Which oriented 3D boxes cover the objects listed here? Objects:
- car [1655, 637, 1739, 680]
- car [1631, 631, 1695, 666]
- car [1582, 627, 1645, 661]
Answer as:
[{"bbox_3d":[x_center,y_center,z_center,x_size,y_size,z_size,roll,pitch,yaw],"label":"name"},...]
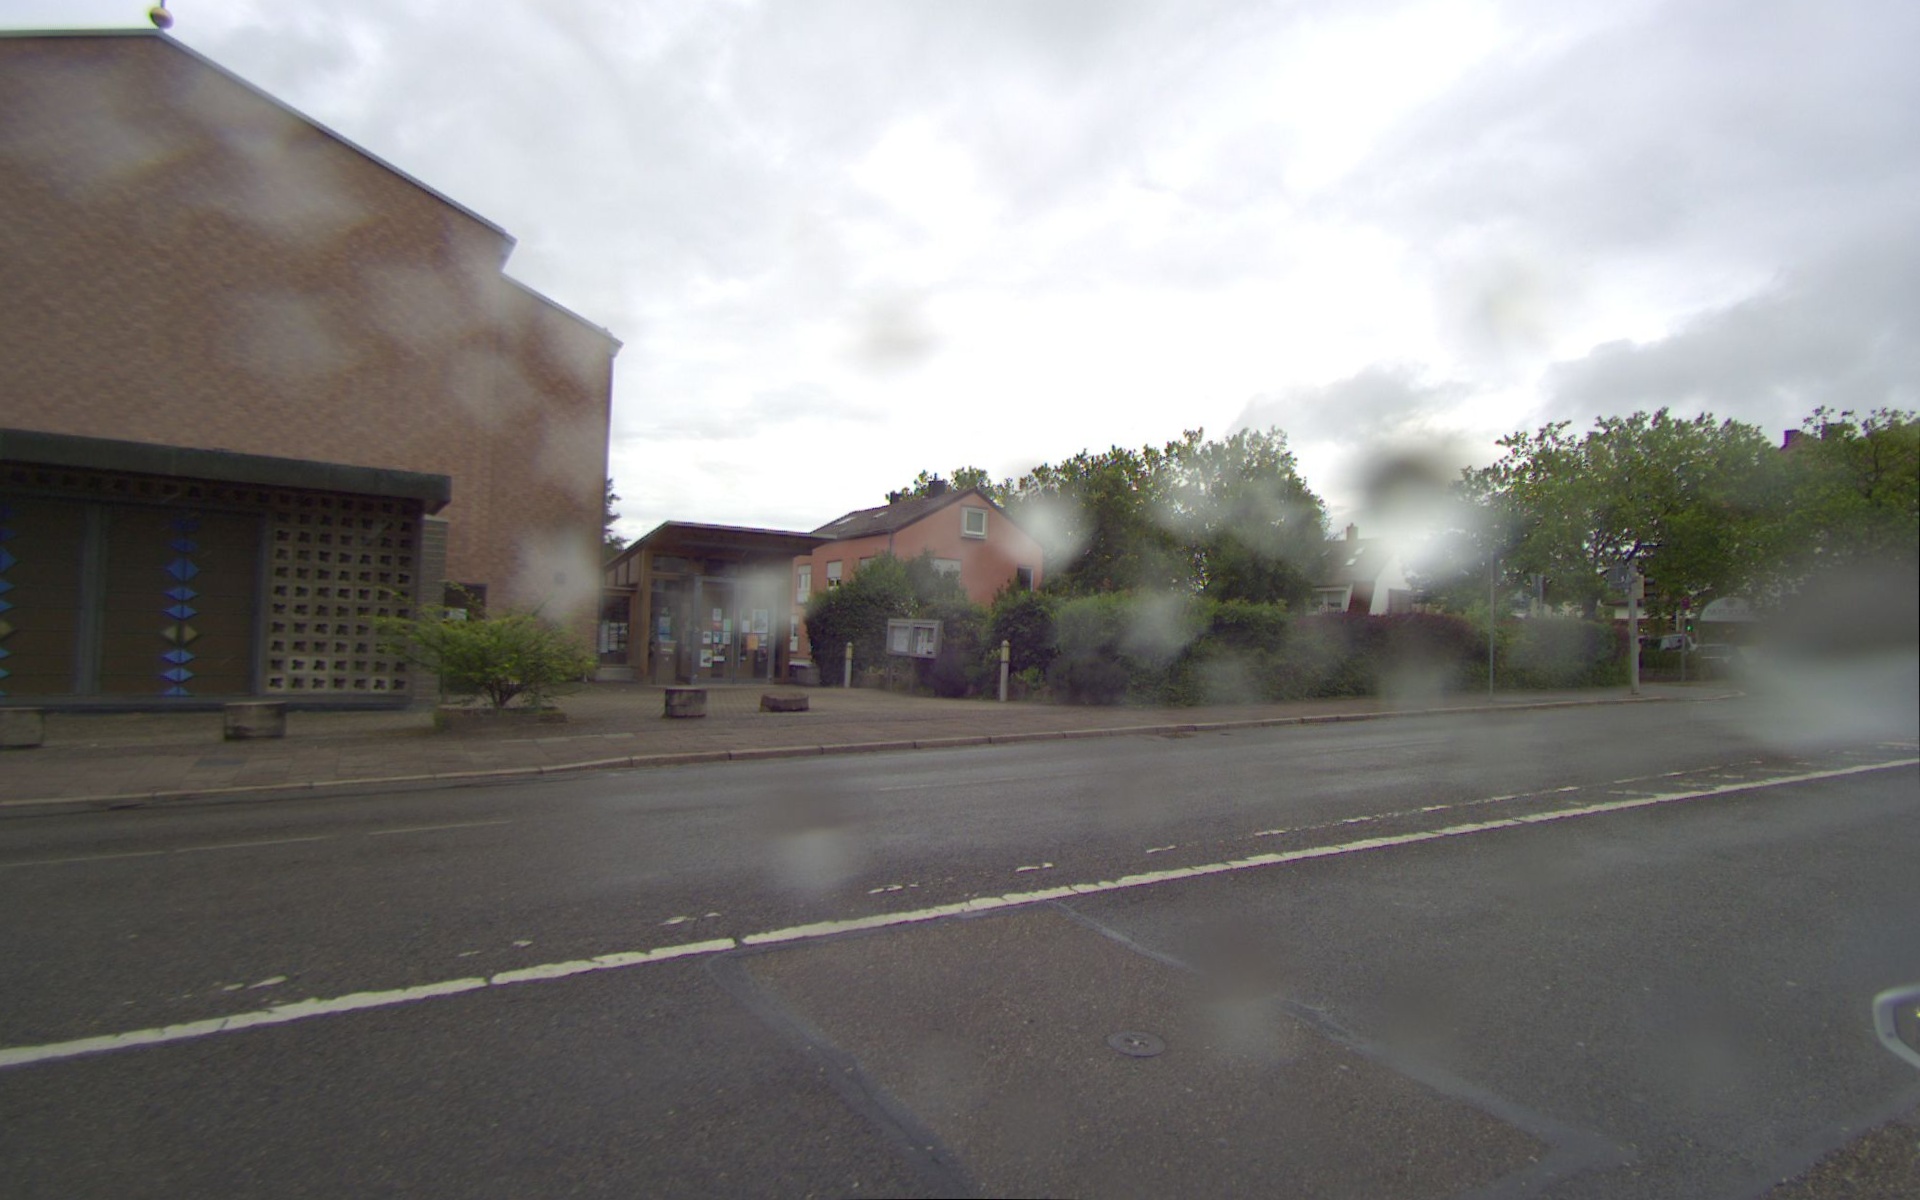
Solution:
[{"bbox_3d":[33.896,2.649,46.196,3.955,1.573,1.798,-2,2,-32],"label":"car"},{"bbox_3d":[43.396,2.980,61.979,3.959,2.040,1.981,2,0,-34],"label":"car"},{"bbox_3d":[41.772,2.840,64.222,3.959,2.040,1.981,2,0,-34],"label":"car"}]
